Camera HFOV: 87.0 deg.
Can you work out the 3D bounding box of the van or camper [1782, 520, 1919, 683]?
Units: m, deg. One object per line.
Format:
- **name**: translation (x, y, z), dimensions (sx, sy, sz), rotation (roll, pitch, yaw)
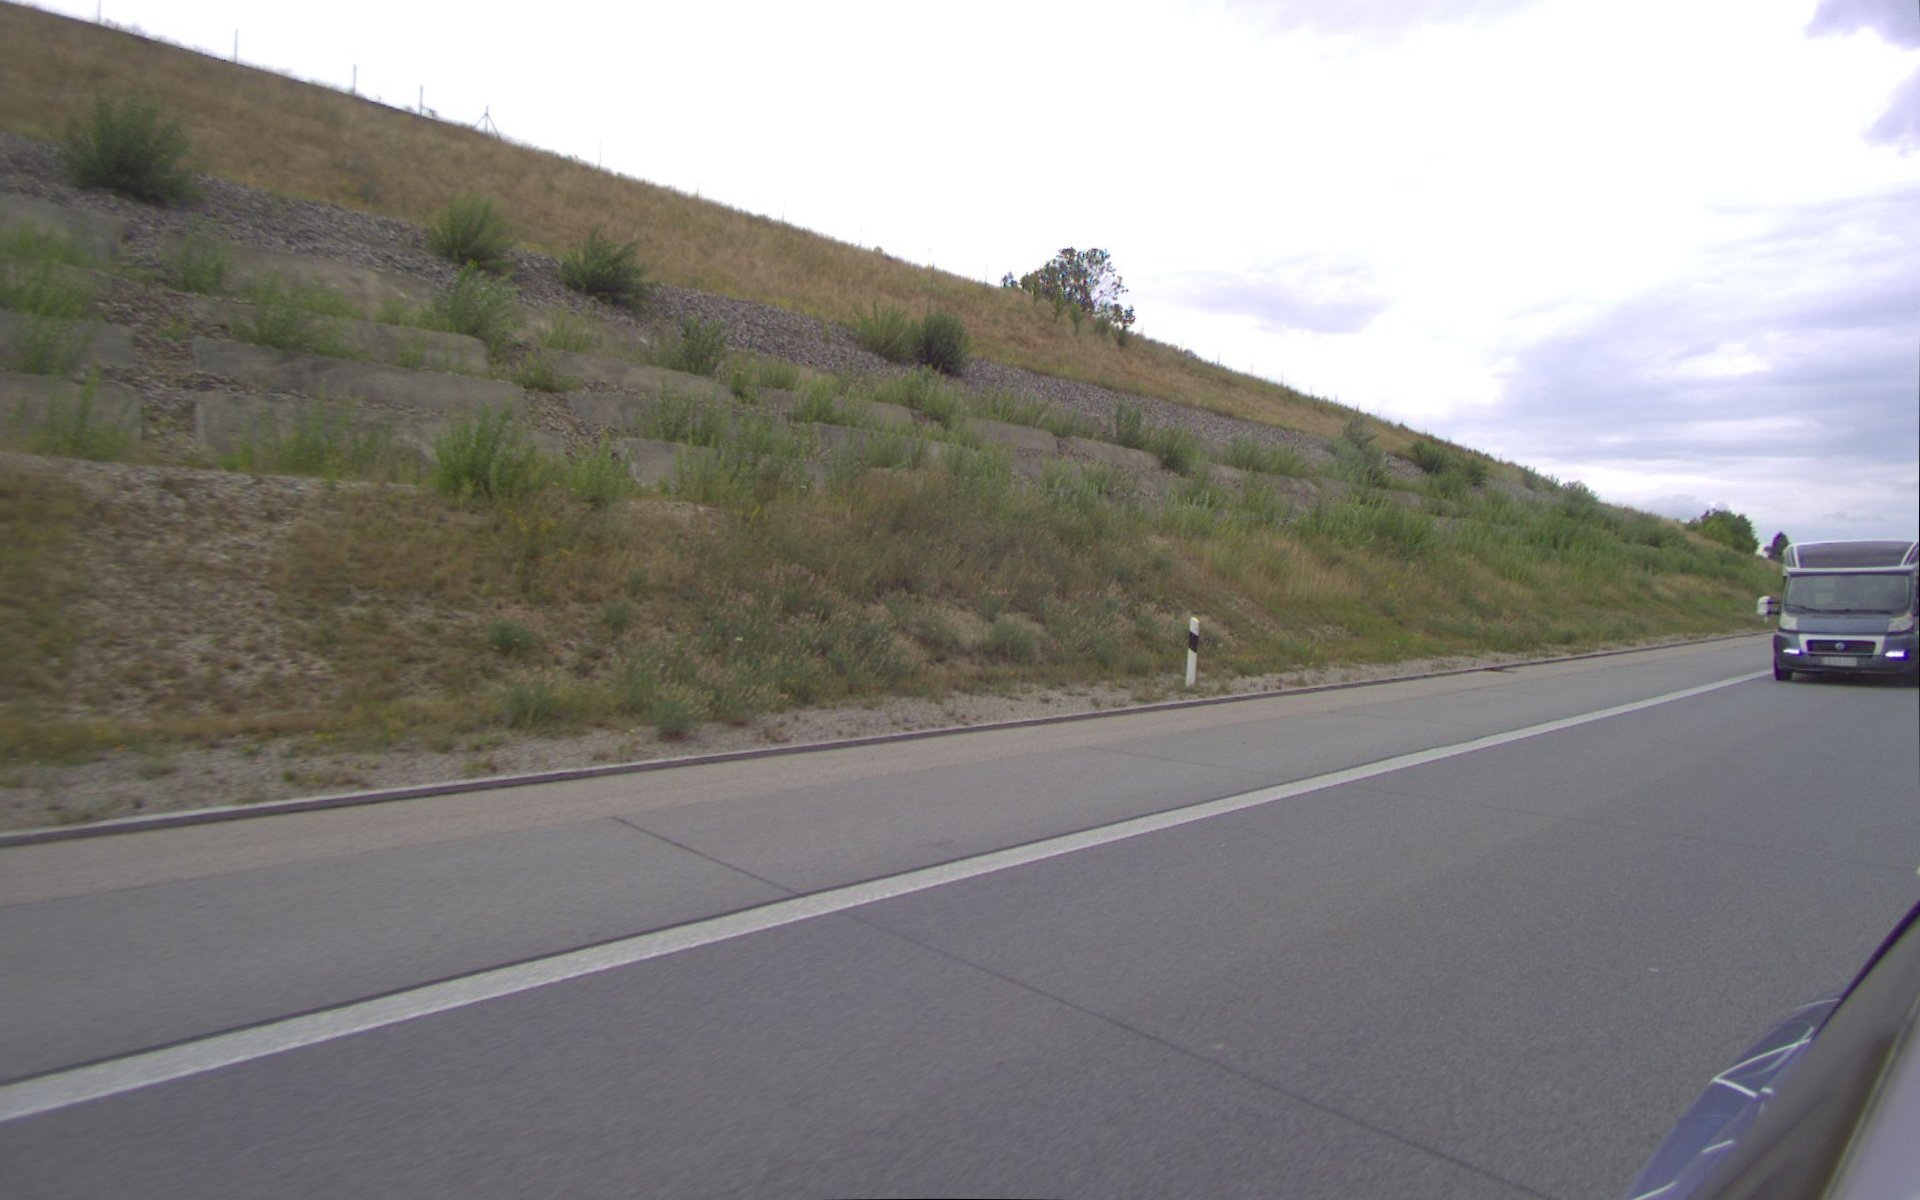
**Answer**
- **van or camper**: translation (18.266, -0.012, 20.110), dimensions (6.786, 2.772, 2.100), rotation (0, 1, -43)
